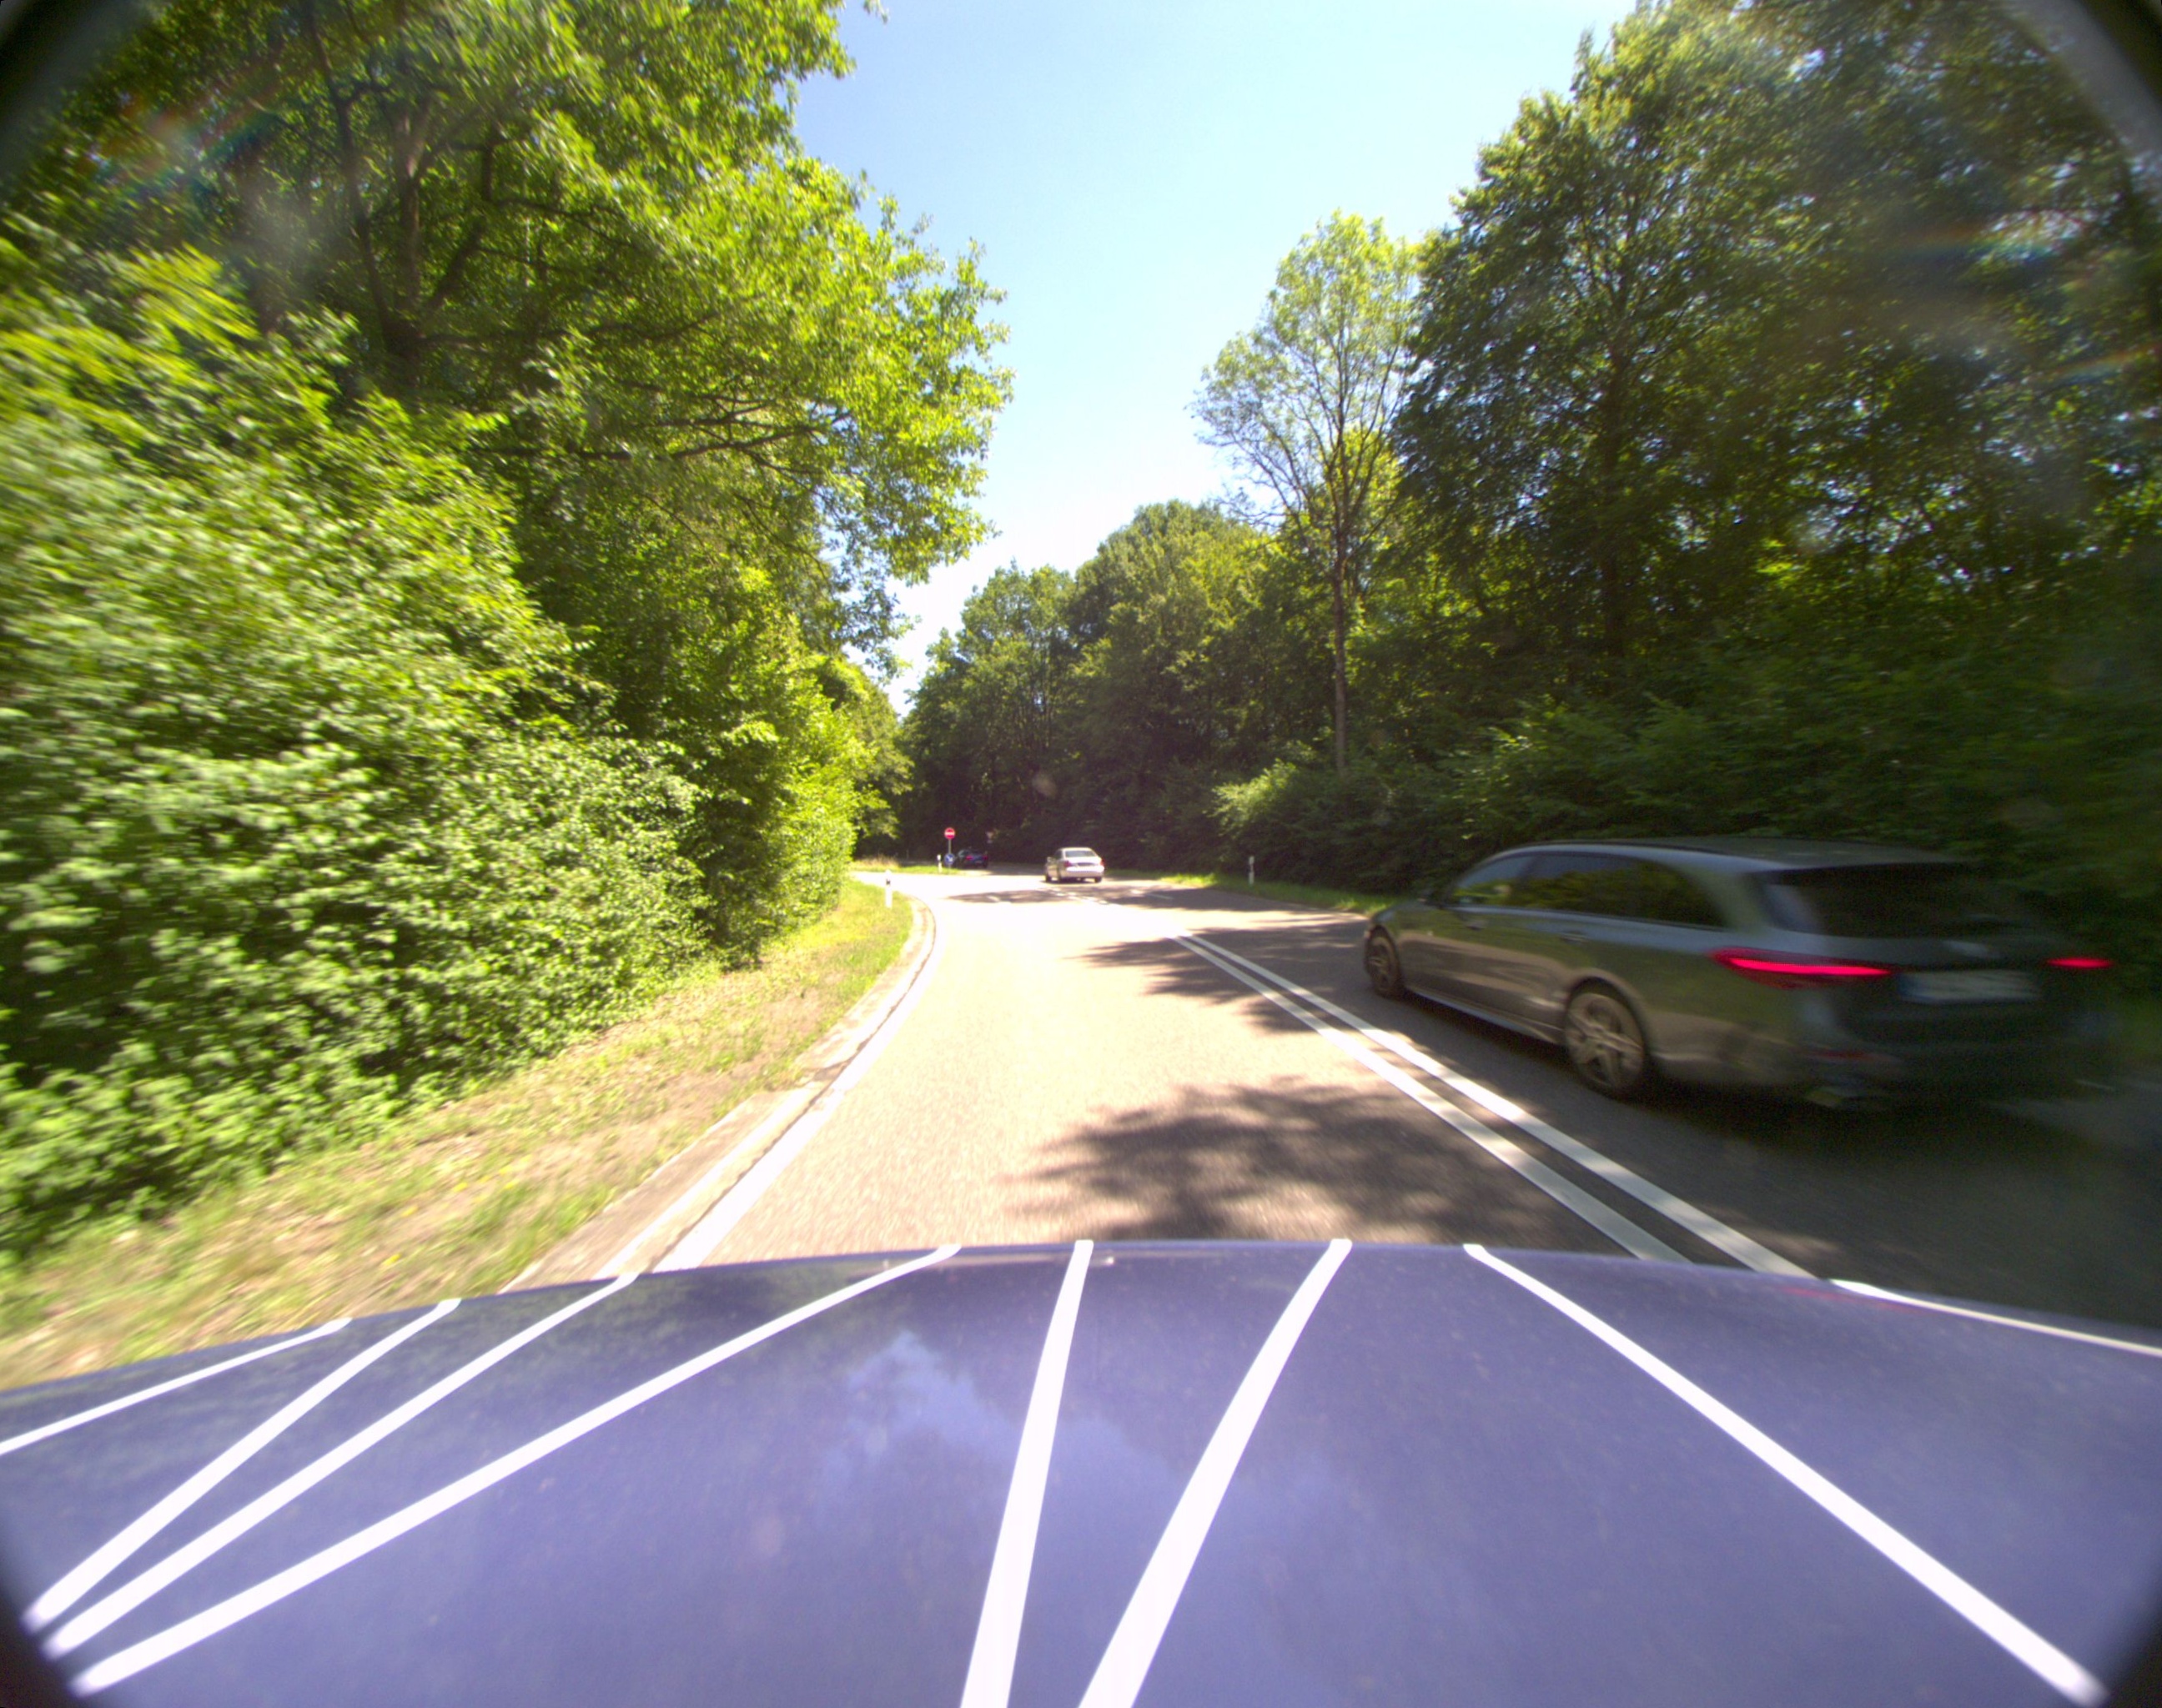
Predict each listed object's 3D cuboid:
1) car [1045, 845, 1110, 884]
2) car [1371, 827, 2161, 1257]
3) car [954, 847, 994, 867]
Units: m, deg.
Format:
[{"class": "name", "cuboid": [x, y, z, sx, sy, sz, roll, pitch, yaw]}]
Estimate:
[{"class": "car", "cuboid": [-0.226, 0.380, 32.549, 1.852, 1.477, 4.758, 0, 1, -12]}, {"class": "car", "cuboid": [3.683, 0.664, 5.020, 1.761, 1.565, 4.366, -2, 1, -1]}, {"class": "car", "cuboid": [-7.911, 0.194, 55.885, 1.797, 1.398, 4.351, -1, 1, -25]}]
